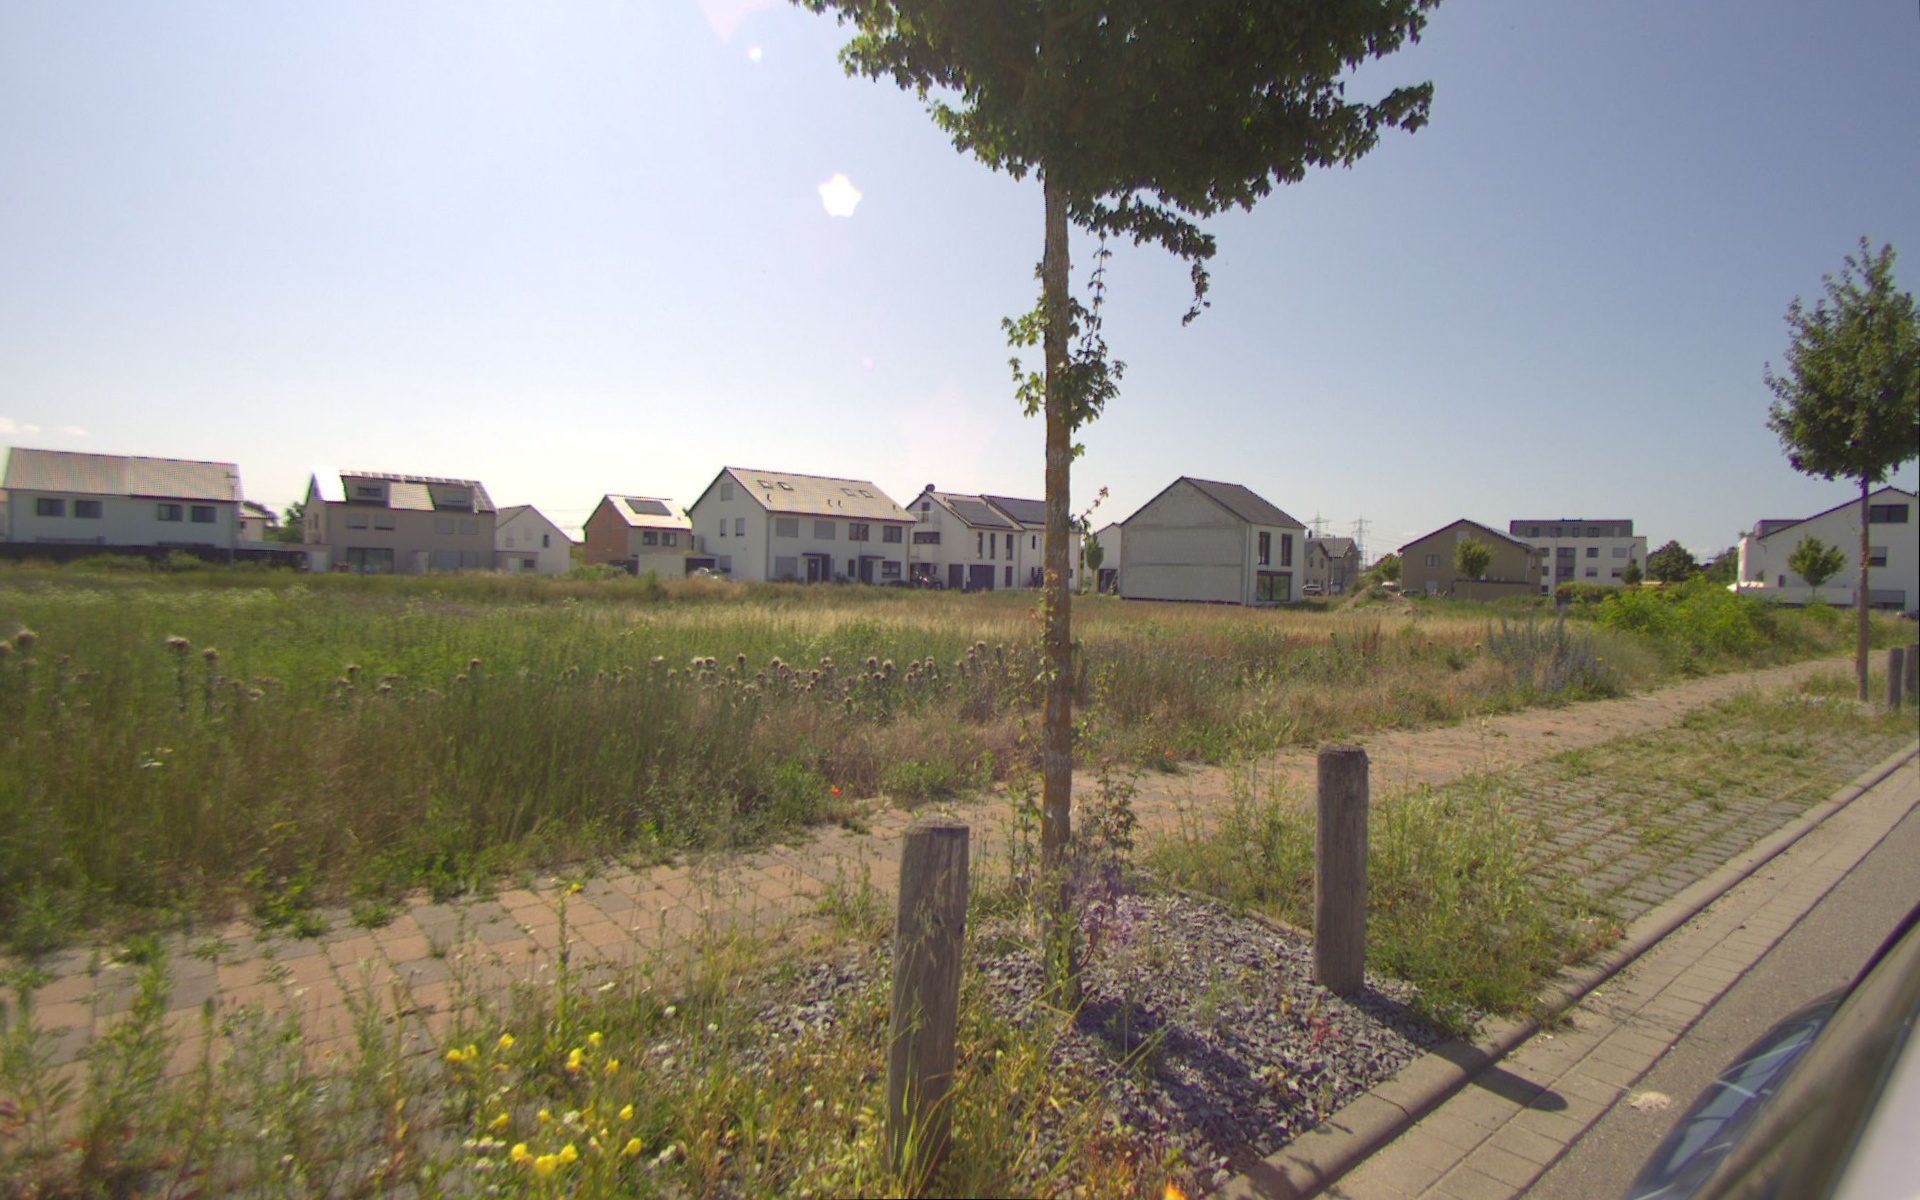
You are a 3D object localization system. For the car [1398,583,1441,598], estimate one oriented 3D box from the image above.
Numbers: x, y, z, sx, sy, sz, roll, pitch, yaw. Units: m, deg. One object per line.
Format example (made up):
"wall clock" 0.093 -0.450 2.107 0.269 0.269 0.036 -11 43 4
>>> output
"car" 50.517 -1.033 111.231 3.984 1.471 1.610 2 1 42
